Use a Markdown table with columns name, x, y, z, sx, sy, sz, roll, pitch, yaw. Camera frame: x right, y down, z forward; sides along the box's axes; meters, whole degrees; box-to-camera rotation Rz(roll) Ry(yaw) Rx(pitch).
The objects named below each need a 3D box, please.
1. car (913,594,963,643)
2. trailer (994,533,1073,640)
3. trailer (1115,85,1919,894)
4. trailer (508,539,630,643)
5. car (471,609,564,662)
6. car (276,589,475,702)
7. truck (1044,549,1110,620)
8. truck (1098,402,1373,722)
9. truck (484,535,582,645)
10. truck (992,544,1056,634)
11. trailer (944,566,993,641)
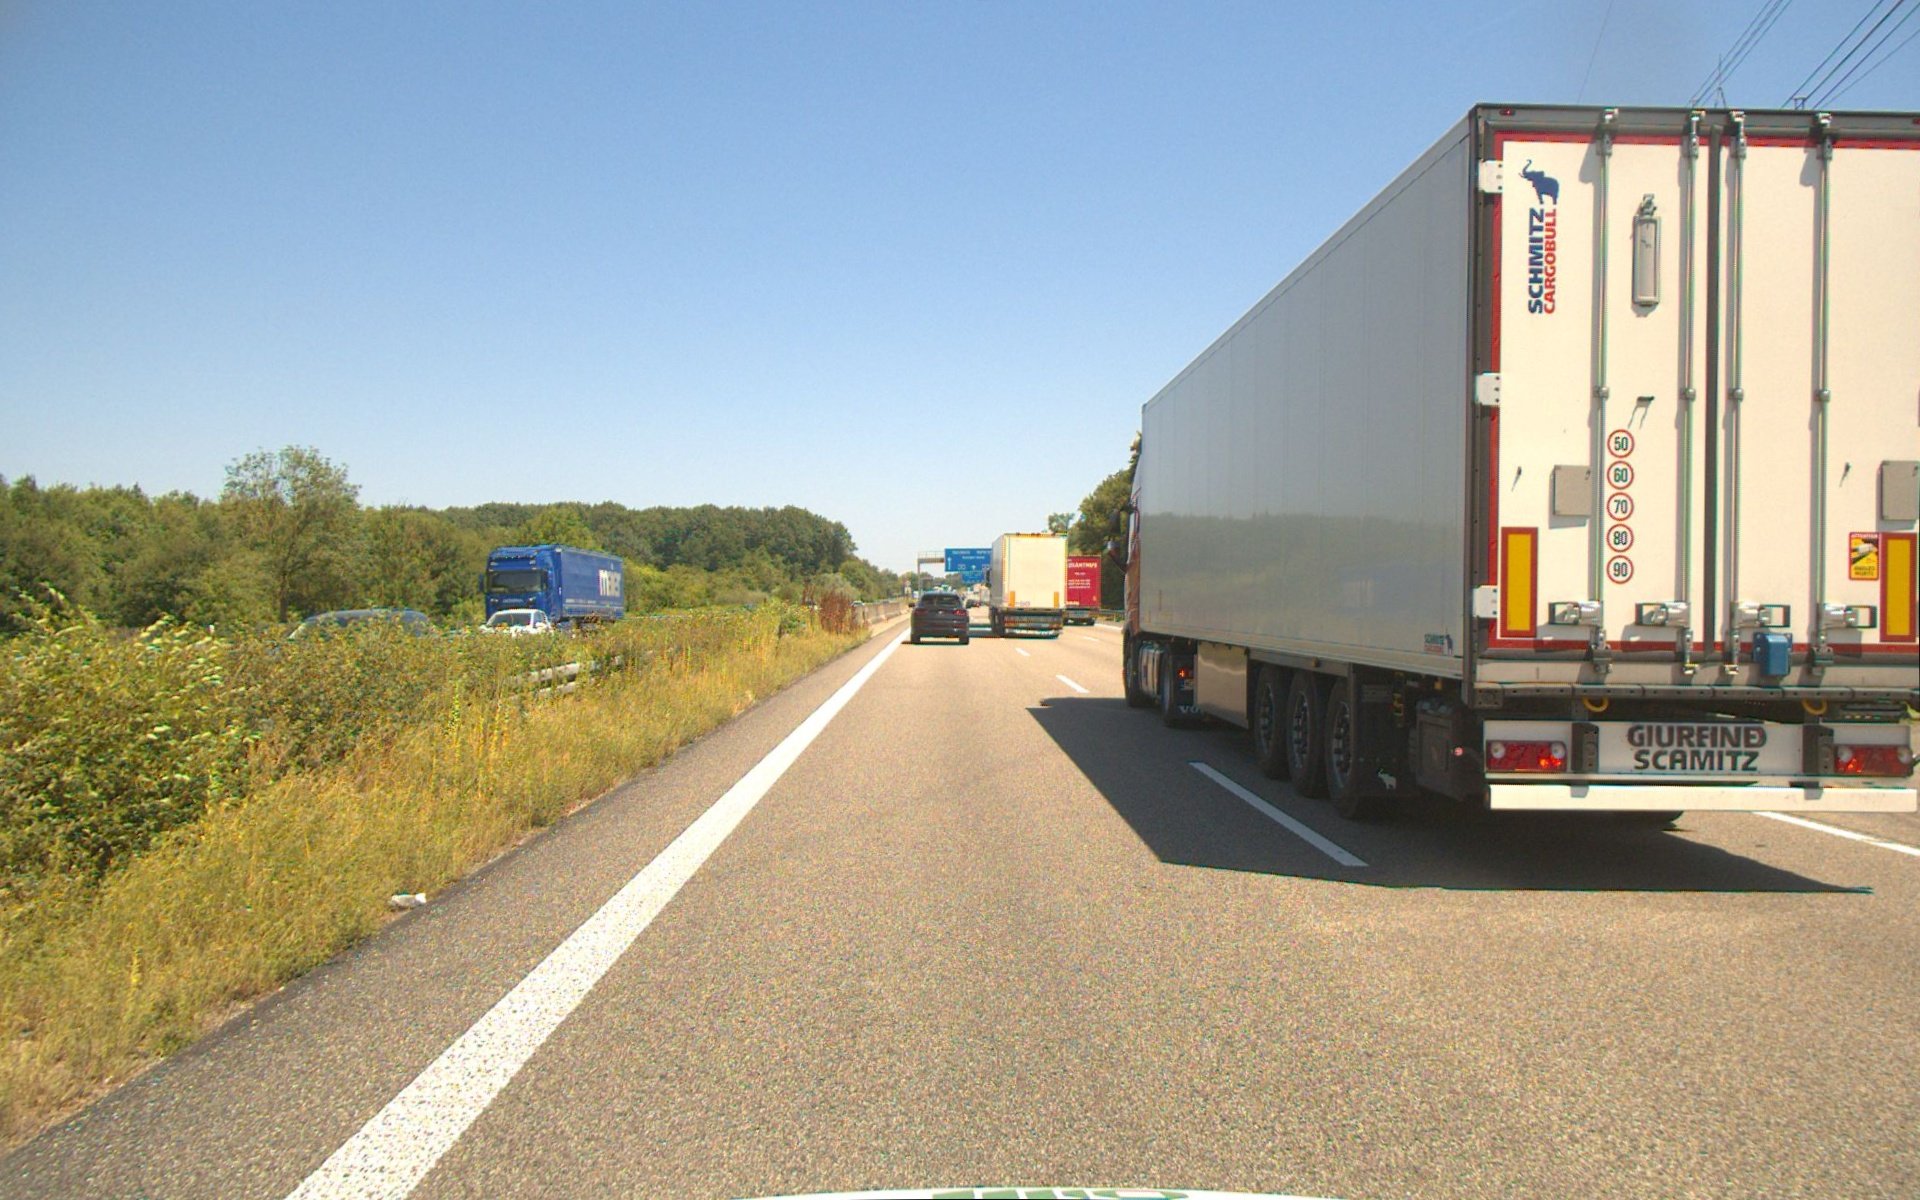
| name | x | y | z | sx | sy | sz | roll | pitch | yaw |
| --- | --- | --- | --- | --- | --- | --- | --- | --- | --- |
| car | -0.729 | 0.591 | 55.882 | 1.626 | 1.576 | 3.782 | 0 | 0 | -1 |
| trailer | 2.990 | -0.527 | 70.368 | 2.737 | 4.106 | 12.566 | 0 | 0 | 0 |
| trailer | 3.882 | -0.535 | 16.536 | 2.878 | 4.088 | 16.197 | 1 | 0 | -1 |
| trailer | -17.595 | -0.398 | 75.471 | 2.422 | 4.203 | 13.463 | -3 | 0 | -1 |
| car | -13.375 | 1.034 | 50.179 | 1.770 | 1.474 | 3.999 | -1 | 0 | -1 |
| car | -9.235 | 0.669 | 26.471 | 1.776 | 1.629 | 3.999 | -1 | 0 | -1 |
| truck | 7.235 | -0.892 | 104.523 | 2.993 | 4.178 | 13.215 | 1 | 0 | -1 |
| truck | 3.785 | -0.475 | 24.209 | 2.881 | 4.055 | 6.100 | 1 | 0 | -1 |
| truck | -17.452 | -0.384 | 67.875 | 2.417 | 4.205 | 5.683 | -3 | 0 | -1 |
| truck | 2.960 | -0.490 | 78.259 | 2.742 | 4.077 | 6.020 | 0 | 0 | 0 |
| trailer | 0.542 | 0.239 | 99.266 | 2.652 | 4.139 | 14.745 | 1 | -1 | 0 |
